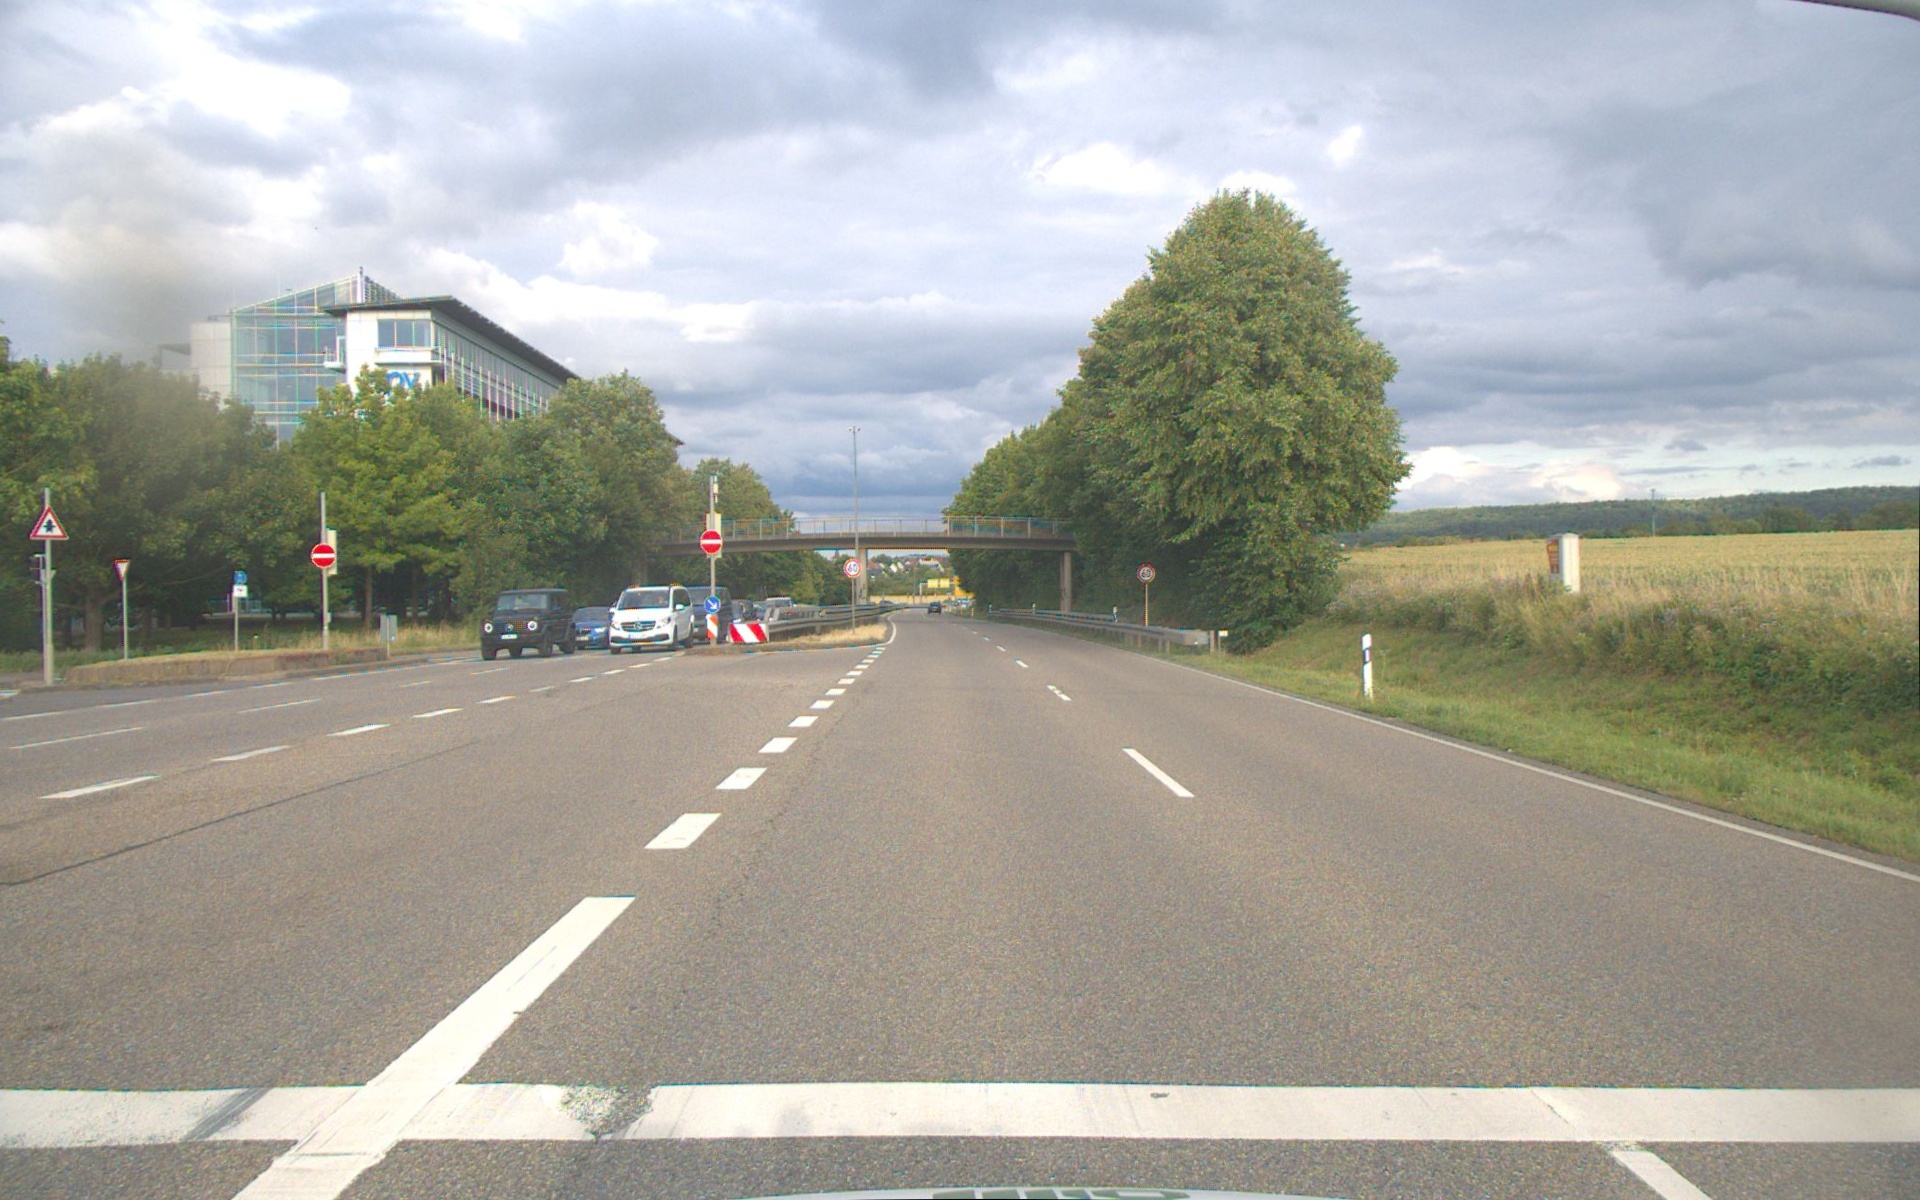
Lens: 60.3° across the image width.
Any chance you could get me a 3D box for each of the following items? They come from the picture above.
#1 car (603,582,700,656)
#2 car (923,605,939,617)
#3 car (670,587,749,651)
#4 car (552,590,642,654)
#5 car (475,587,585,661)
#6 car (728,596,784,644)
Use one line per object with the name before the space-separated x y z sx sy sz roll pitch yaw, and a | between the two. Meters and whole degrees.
car | -9.104 0.548 49.202 2.041 2.049 5.214 1 0 -2
car | -3.892 1.476 219.051 1.843 1.579 3.996 1 0 -4
car | -8.564 0.643 56.946 2.041 2.049 5.214 1 0 -2
car | -12.328 0.733 56.541 2.041 2.049 5.214 1 0 -2
car | -12.664 0.686 49.036 2.041 2.049 5.214 1 0 -2
car | -9.249 0.897 75.478 2.041 2.049 5.214 1 0 -2
